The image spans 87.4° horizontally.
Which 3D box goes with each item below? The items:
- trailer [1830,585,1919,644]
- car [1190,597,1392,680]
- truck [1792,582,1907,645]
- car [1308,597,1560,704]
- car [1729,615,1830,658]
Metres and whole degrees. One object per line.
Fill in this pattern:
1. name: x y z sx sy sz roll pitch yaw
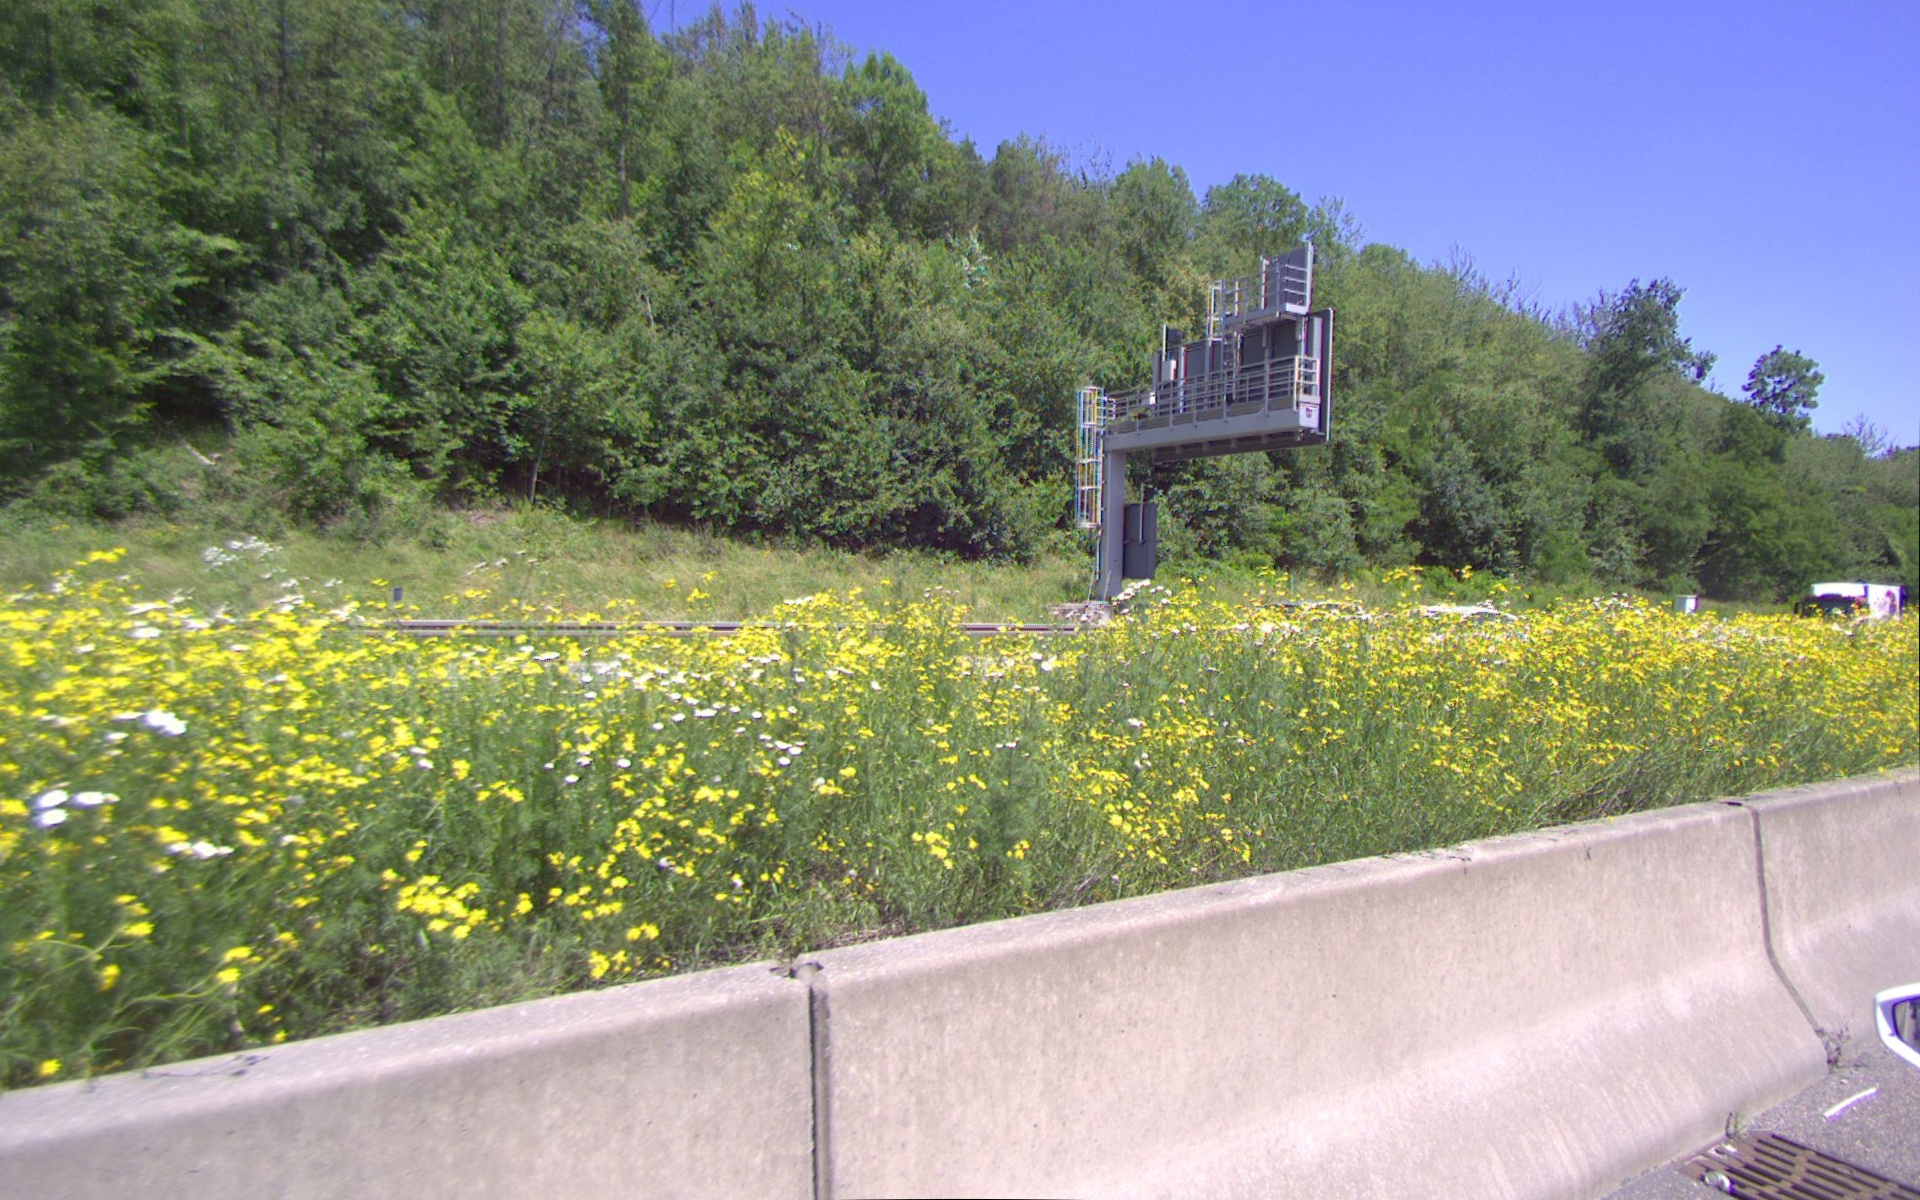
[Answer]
1. trailer: 49.907 0.788 54.190 7.376 3.045 2.393 1 0 -32
2. car: 7.061 0.781 21.390 3.953 1.596 1.984 1 0 -30
3. truck: 45.688 0.713 51.548 7.376 3.045 2.393 1 0 -32
4. car: 8.047 0.798 17.026 3.953 1.596 1.984 1 0 -30
5. car: 30.124 1.328 36.916 3.500 1.473 1.779 1 0 -31
